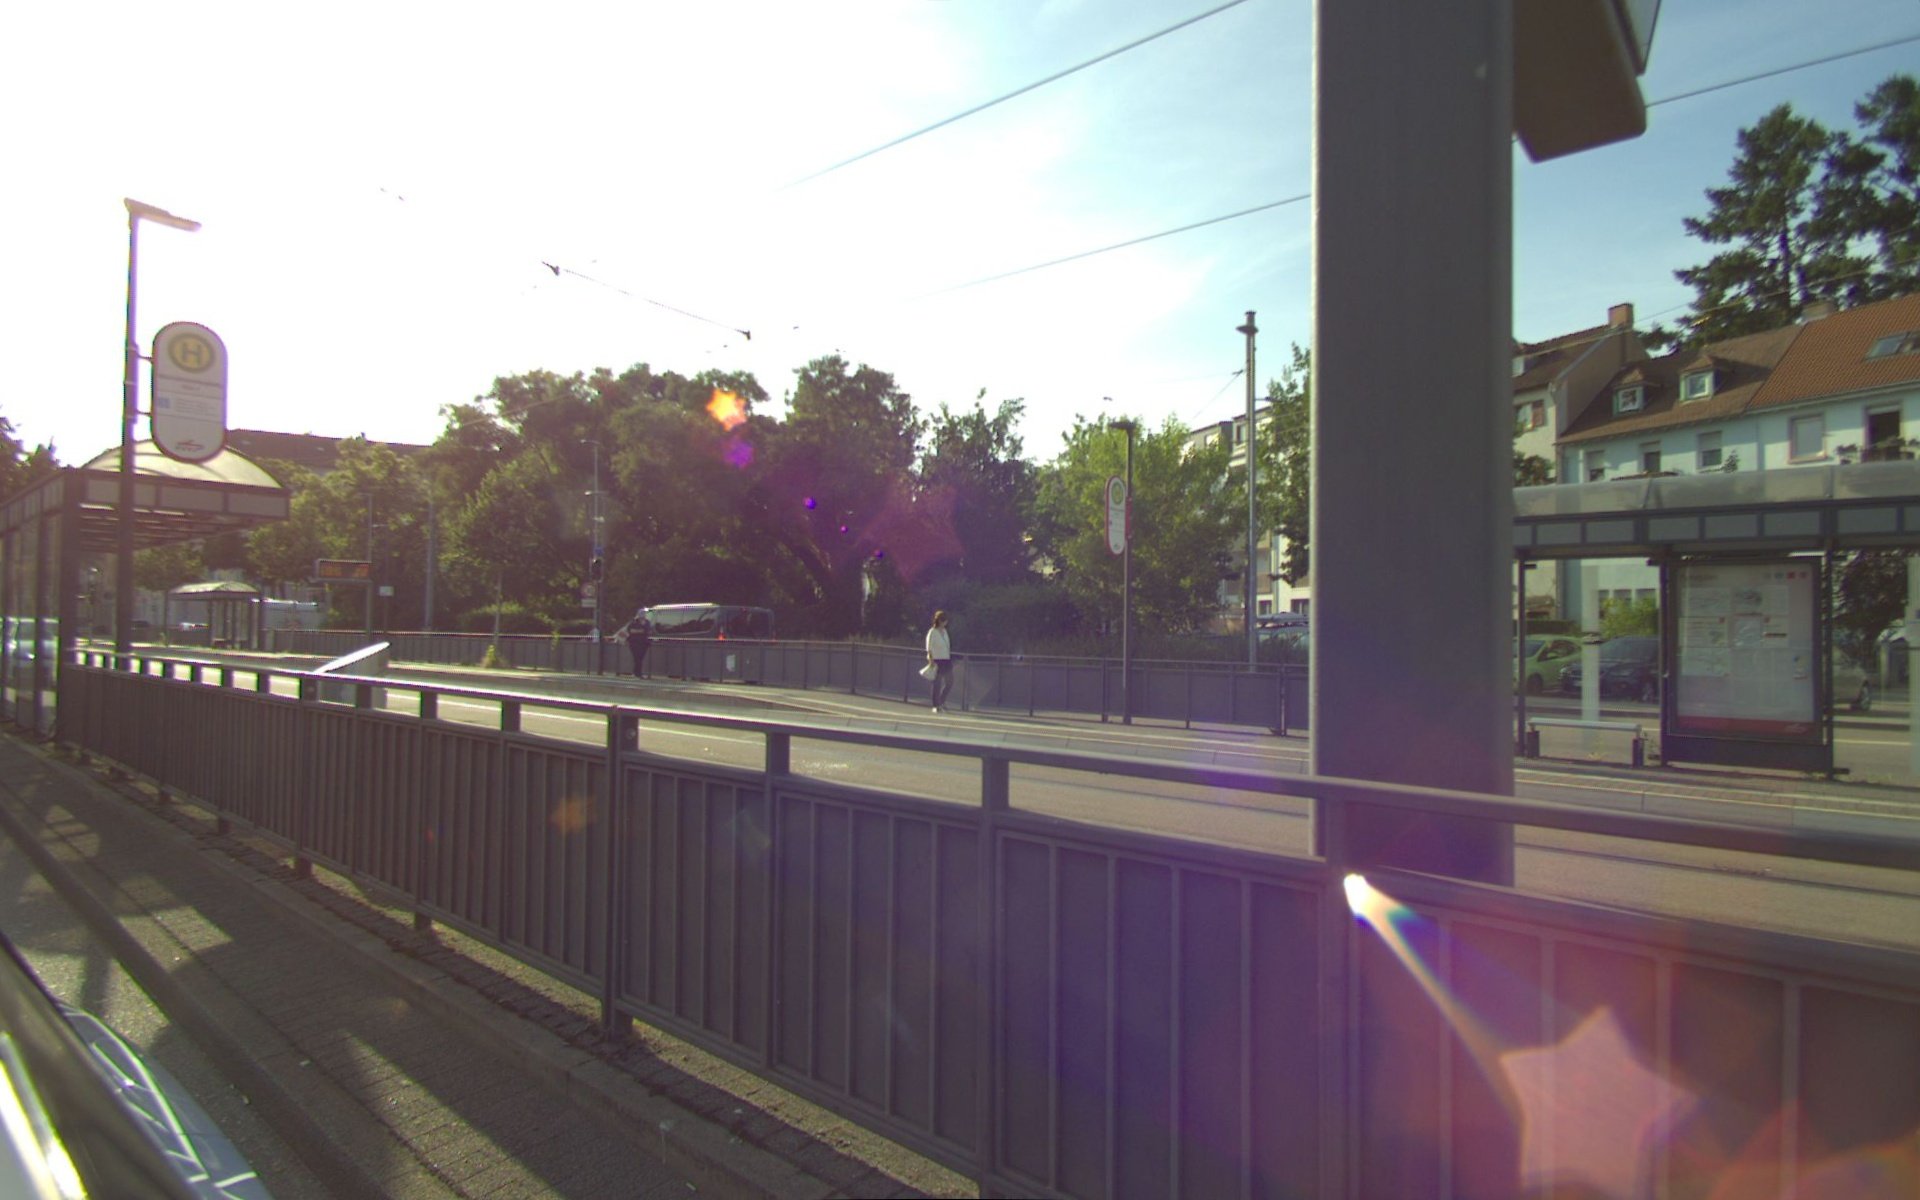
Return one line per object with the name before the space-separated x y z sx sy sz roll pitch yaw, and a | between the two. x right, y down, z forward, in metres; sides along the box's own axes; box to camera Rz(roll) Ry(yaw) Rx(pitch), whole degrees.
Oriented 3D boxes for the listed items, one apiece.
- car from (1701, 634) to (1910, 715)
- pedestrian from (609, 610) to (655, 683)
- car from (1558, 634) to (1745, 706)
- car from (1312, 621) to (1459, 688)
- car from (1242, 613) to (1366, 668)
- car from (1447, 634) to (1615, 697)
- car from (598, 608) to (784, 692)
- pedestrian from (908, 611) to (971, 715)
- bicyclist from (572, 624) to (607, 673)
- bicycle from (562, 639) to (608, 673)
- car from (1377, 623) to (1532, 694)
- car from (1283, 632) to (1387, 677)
car | 16.612 1.417 19.868 3.931 1.439 1.778 2 -2 -28
pedestrian | -7.551 1.065 23.314 0.689 1.640 0.727 -1 -3 41
car | 15.299 1.501 22.366 3.931 1.439 1.778 2 -2 -28
car | 12.069 1.523 28.703 3.931 1.767 1.860 2 -2 -30
car | 11.615 1.371 34.154 3.931 1.767 1.860 2 -2 -30
car | 14.100 1.586 24.975 3.931 1.439 1.778 2 -2 -28
car | -7.230 1.272 26.900 5.384 2.029 2.123 -1 -3 41
pedestrian | -0.330 1.010 16.470 0.727 1.640 0.699 -1 -3 41
bicyclist | -12.838 1.675 35.035 1.072 1.636 0.697 -2 0 43
bicycle | -13.075 1.938 35.236 1.864 1.118 0.718 -2 0 42
car | 13.208 1.526 27.004 3.931 1.767 1.860 2 -2 -30
car | 15.876 2.283 43.075 1.786 1.814 4.013 2 -2 -26
